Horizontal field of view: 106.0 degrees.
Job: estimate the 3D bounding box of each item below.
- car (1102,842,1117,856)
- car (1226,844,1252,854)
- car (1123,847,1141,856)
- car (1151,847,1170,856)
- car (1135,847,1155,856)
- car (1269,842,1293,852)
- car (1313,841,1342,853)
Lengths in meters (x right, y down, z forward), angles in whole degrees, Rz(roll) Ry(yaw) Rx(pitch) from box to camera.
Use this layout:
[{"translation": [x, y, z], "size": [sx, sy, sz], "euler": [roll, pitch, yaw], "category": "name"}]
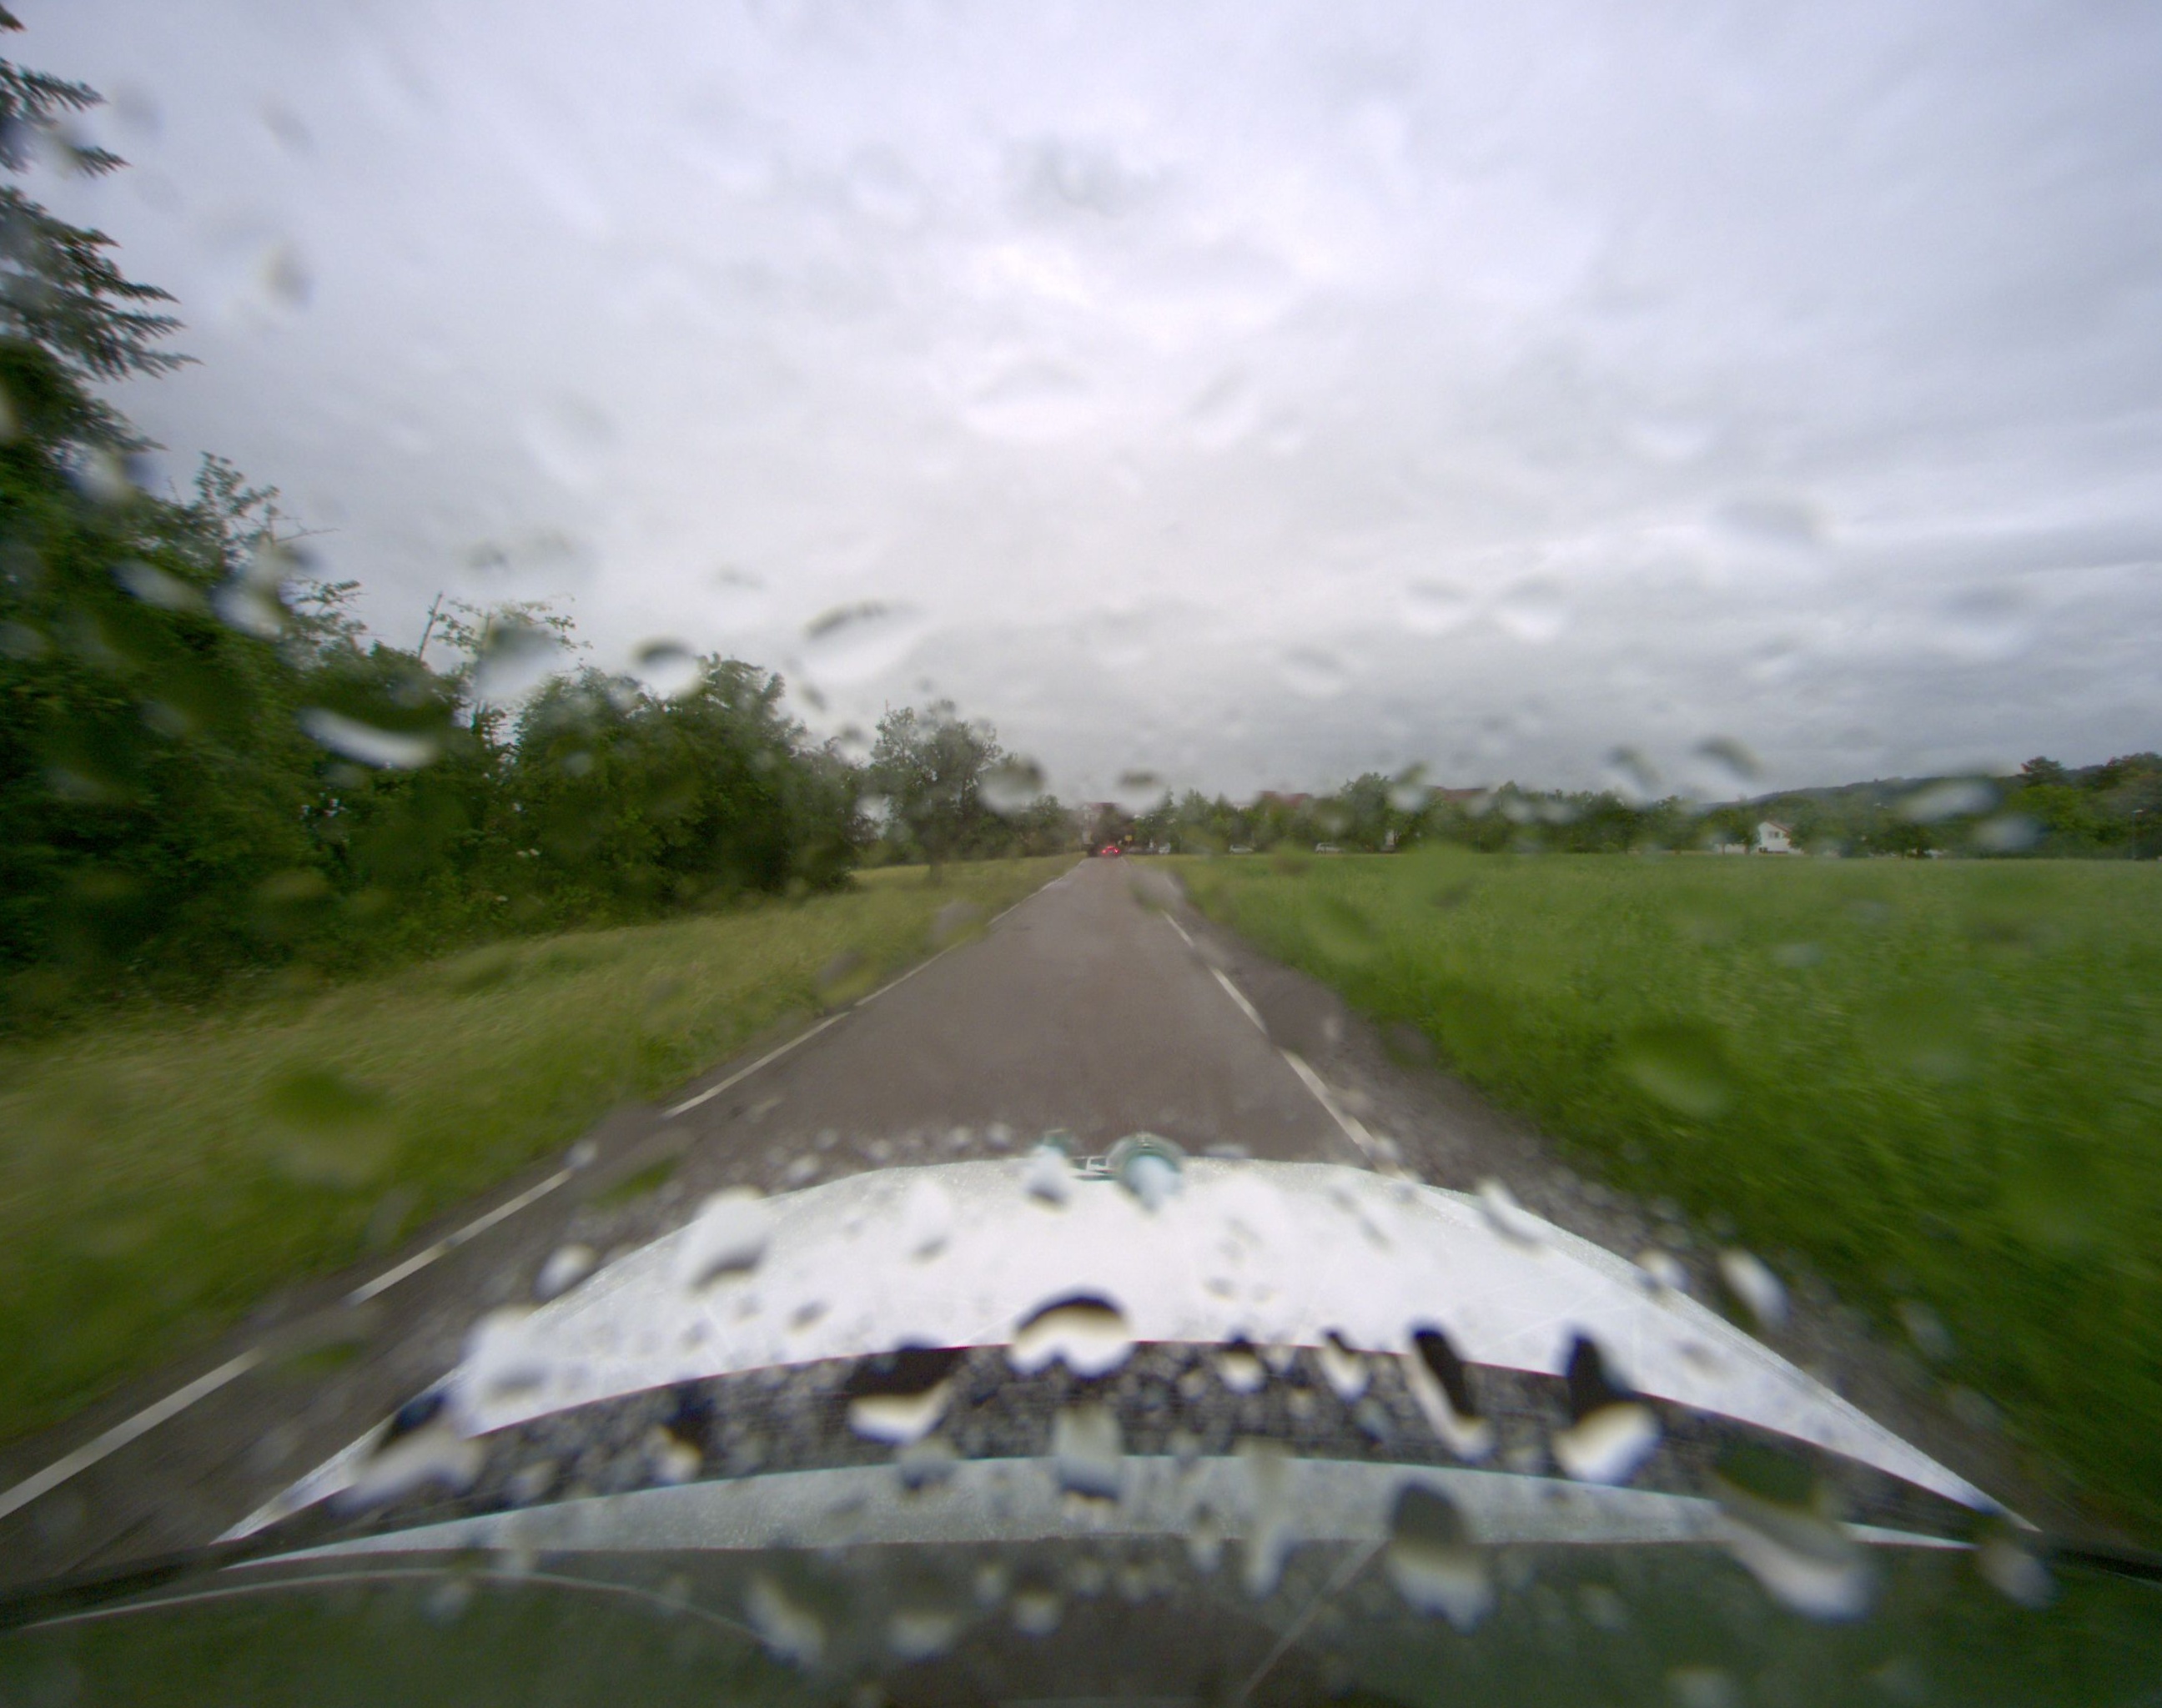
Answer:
[{"translation": [3.462, -0.587, 98.751], "size": [1.807, 1.594, 4.003], "euler": [-1, -1, 3], "category": "car"}, {"translation": [22.283, -0.663, 114.833], "size": [3.365, 1.370, 1.554], "euler": [-1, -1, 15], "category": "car"}, {"translation": [9.026, -0.451, 144.171], "size": [1.645, 1.546, 4.024], "euler": [-1, -1, 26], "category": "car"}, {"translation": [14.879, -0.498, 152.862], "size": [1.645, 1.546, 4.025], "euler": [-2, -1, 37], "category": "car"}, {"translation": [11.710, -0.473, 148.664], "size": [1.645, 1.546, 4.025], "euler": [-2, -1, 37], "category": "car"}, {"translation": [27.835, -0.958, 113.299], "size": [3.169, 1.370, 1.578], "euler": [-1, -1, 15], "category": "car"}, {"translation": [33.706, -0.948, 111.544], "size": [3.682, 1.564, 1.617], "euler": [-1, -1, 15], "category": "car"}]
